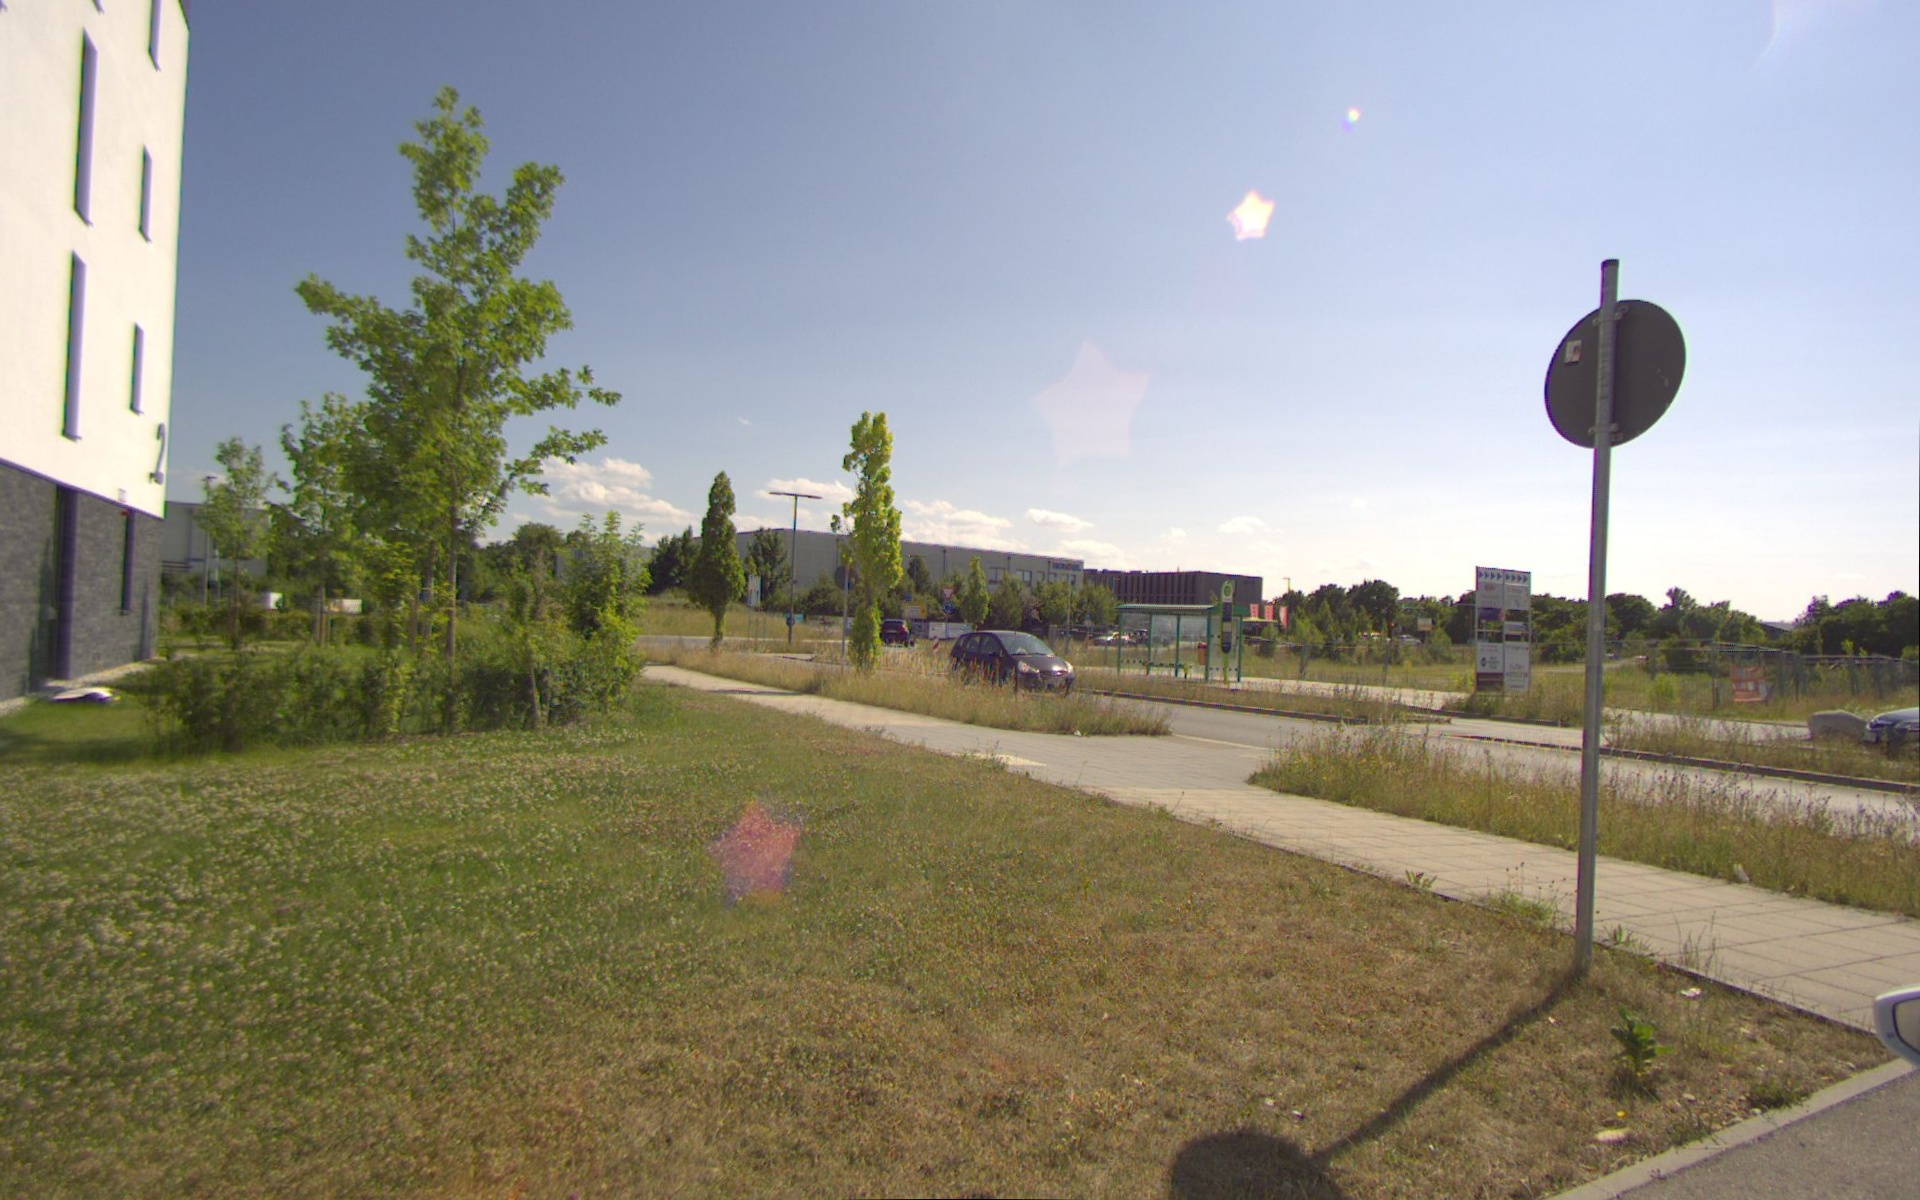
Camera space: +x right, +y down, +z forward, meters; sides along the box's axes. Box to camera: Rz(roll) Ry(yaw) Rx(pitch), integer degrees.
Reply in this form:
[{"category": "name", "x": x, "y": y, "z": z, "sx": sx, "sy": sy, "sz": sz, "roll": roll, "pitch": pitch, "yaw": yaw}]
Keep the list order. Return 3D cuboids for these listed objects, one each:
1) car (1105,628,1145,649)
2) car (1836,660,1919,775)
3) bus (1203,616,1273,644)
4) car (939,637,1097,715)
[{"category": "car", "x": 16.308, "y": 3.824, "z": 99.202, "sx": 3.973, "sy": 1.884, "sz": 1.805, "roll": 4, "pitch": -1, "yaw": -43}, {"category": "car", "x": 15.280, "y": 1.768, "z": 14.033, "sx": 4.117, "sy": 1.537, "sz": 1.999, "roll": 3, "pitch": -1, "yaw": 25}, {"category": "bus", "x": 31.713, "y": 3.425, "z": 114.063, "sx": 2.544, "sy": 2.771, "sz": 11.504, "roll": 2, "pitch": -1, "yaw": 43}, {"category": "car", "x": 1.322, "y": 1.780, "z": 24.260, "sx": 1.978, "sy": 1.571, "sz": 3.811, "roll": 3, "pitch": -1, "yaw": -31}]
